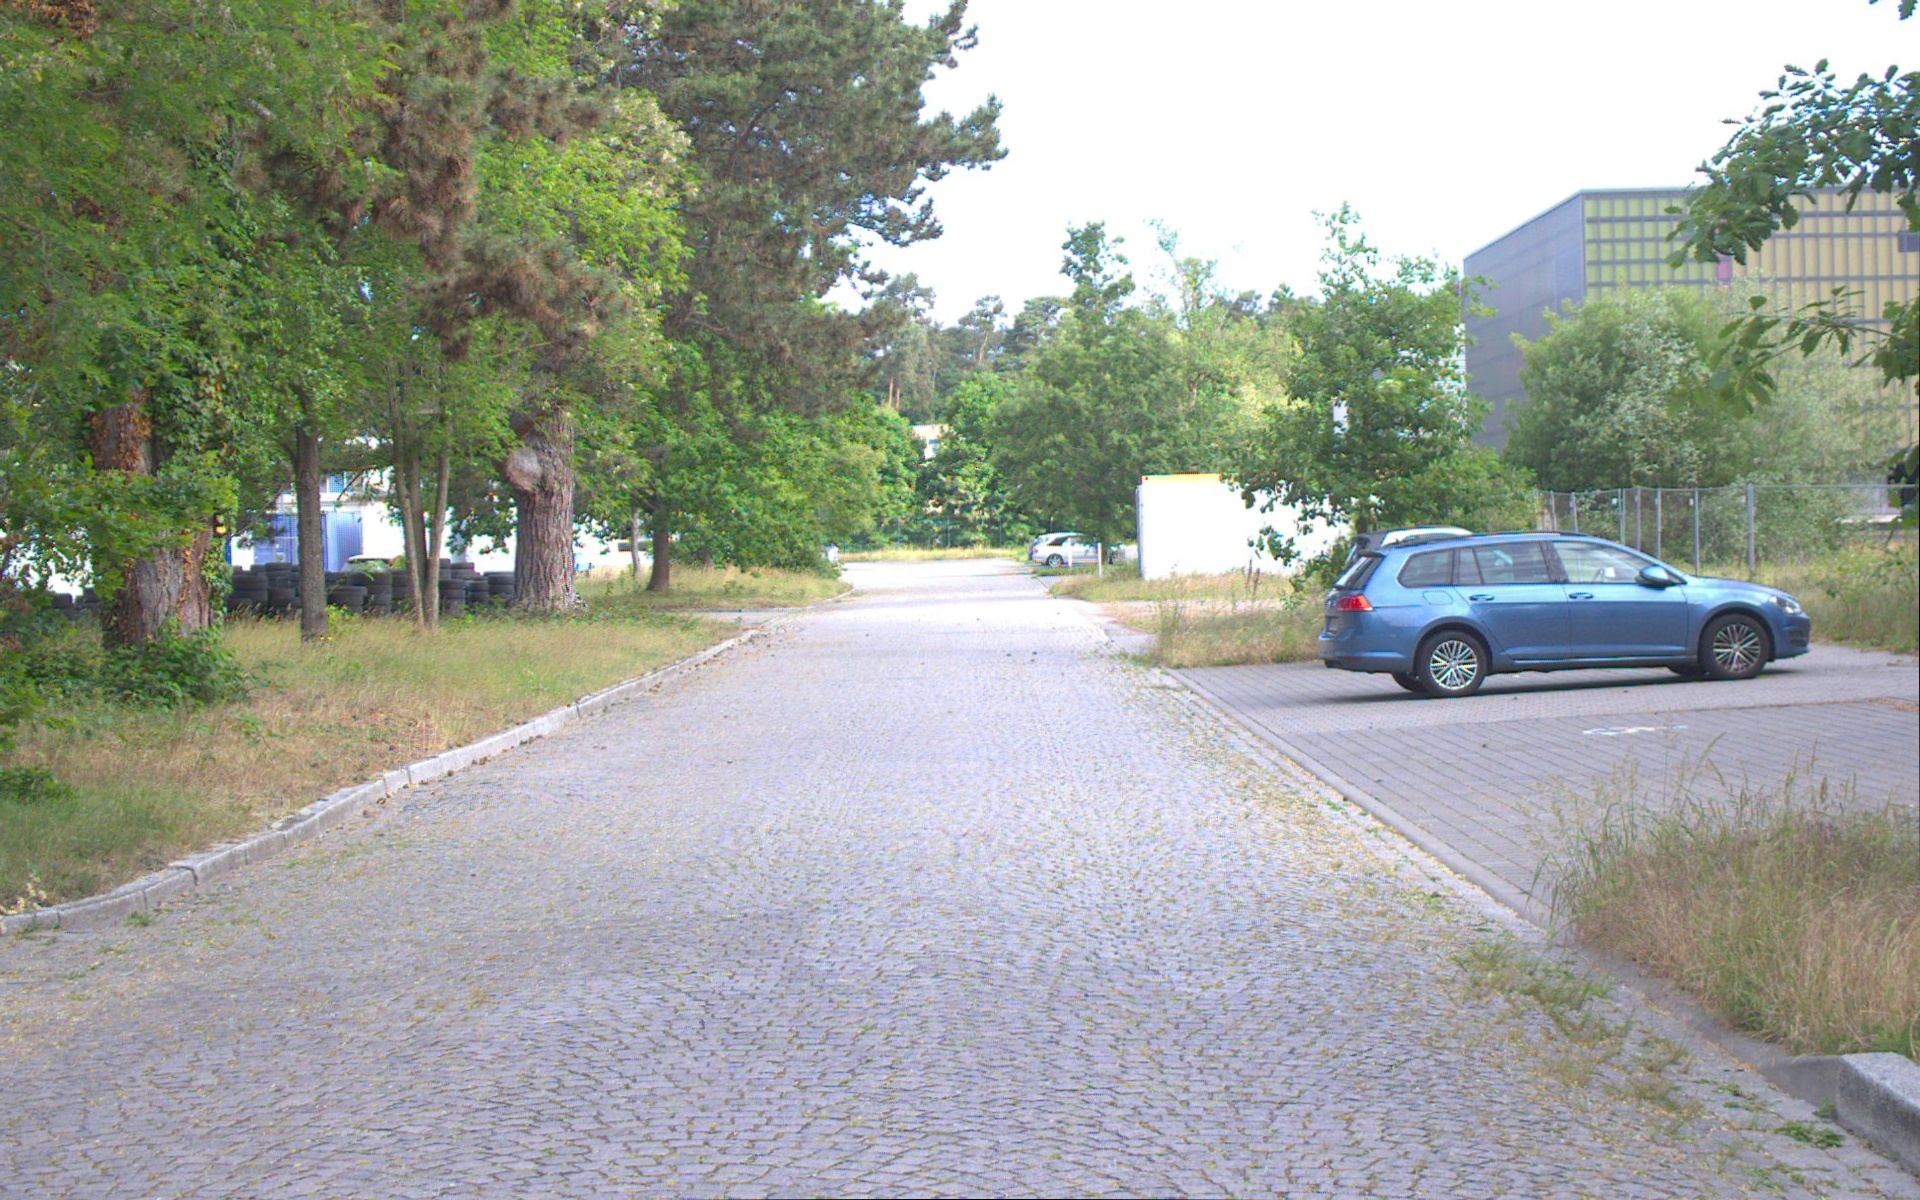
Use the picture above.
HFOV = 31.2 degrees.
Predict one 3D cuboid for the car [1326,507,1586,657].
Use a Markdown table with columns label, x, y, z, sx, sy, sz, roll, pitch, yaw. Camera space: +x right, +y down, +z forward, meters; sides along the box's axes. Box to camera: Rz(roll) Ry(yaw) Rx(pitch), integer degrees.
| label | x | y | z | sx | sy | sz | roll | pitch | yaw |
| --- | --- | --- | --- | --- | --- | --- | --- | --- | --- |
| car | 5.715 | -0.221 | 39.827 | 2.710 | 1.551 | 1.653 | -3 | 1 | 1 |

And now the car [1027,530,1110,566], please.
| label | x | y | z | sx | sy | sz | roll | pitch | yaw |
| --- | --- | --- | --- | --- | --- | --- | --- | --- | --- |
| car | 4.708 | -2.274 | 149.462 | 3.522 | 1.357 | 1.622 | -3 | 1 | 1 |

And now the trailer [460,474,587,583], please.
| label | x | y | z | sx | sy | sz | roll | pitch | yaw |
| --- | --- | --- | --- | --- | --- | --- | --- | --- | --- |
| trailer | -15.080 | -2.477 | 119.426 | 2.625 | 3.585 | 10.177 | -1 | 1 | 2 |

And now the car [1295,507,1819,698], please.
| label | x | y | z | sx | sy | sz | roll | pitch | yaw |
| --- | --- | --- | --- | --- | --- | --- | --- | --- | --- |
| car | 5.551 | 0.002 | 32.330 | 4.490 | 1.470 | 1.831 | -4 | 1 | -2 |

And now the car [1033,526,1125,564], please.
| label | x | y | z | sx | sy | sz | roll | pitch | yaw |
| --- | --- | --- | --- | --- | --- | --- | --- | --- | --- |
| car | 5.253 | -2.443 | 152.147 | 3.985 | 1.443 | 1.653 | -3 | 1 | 1 |
